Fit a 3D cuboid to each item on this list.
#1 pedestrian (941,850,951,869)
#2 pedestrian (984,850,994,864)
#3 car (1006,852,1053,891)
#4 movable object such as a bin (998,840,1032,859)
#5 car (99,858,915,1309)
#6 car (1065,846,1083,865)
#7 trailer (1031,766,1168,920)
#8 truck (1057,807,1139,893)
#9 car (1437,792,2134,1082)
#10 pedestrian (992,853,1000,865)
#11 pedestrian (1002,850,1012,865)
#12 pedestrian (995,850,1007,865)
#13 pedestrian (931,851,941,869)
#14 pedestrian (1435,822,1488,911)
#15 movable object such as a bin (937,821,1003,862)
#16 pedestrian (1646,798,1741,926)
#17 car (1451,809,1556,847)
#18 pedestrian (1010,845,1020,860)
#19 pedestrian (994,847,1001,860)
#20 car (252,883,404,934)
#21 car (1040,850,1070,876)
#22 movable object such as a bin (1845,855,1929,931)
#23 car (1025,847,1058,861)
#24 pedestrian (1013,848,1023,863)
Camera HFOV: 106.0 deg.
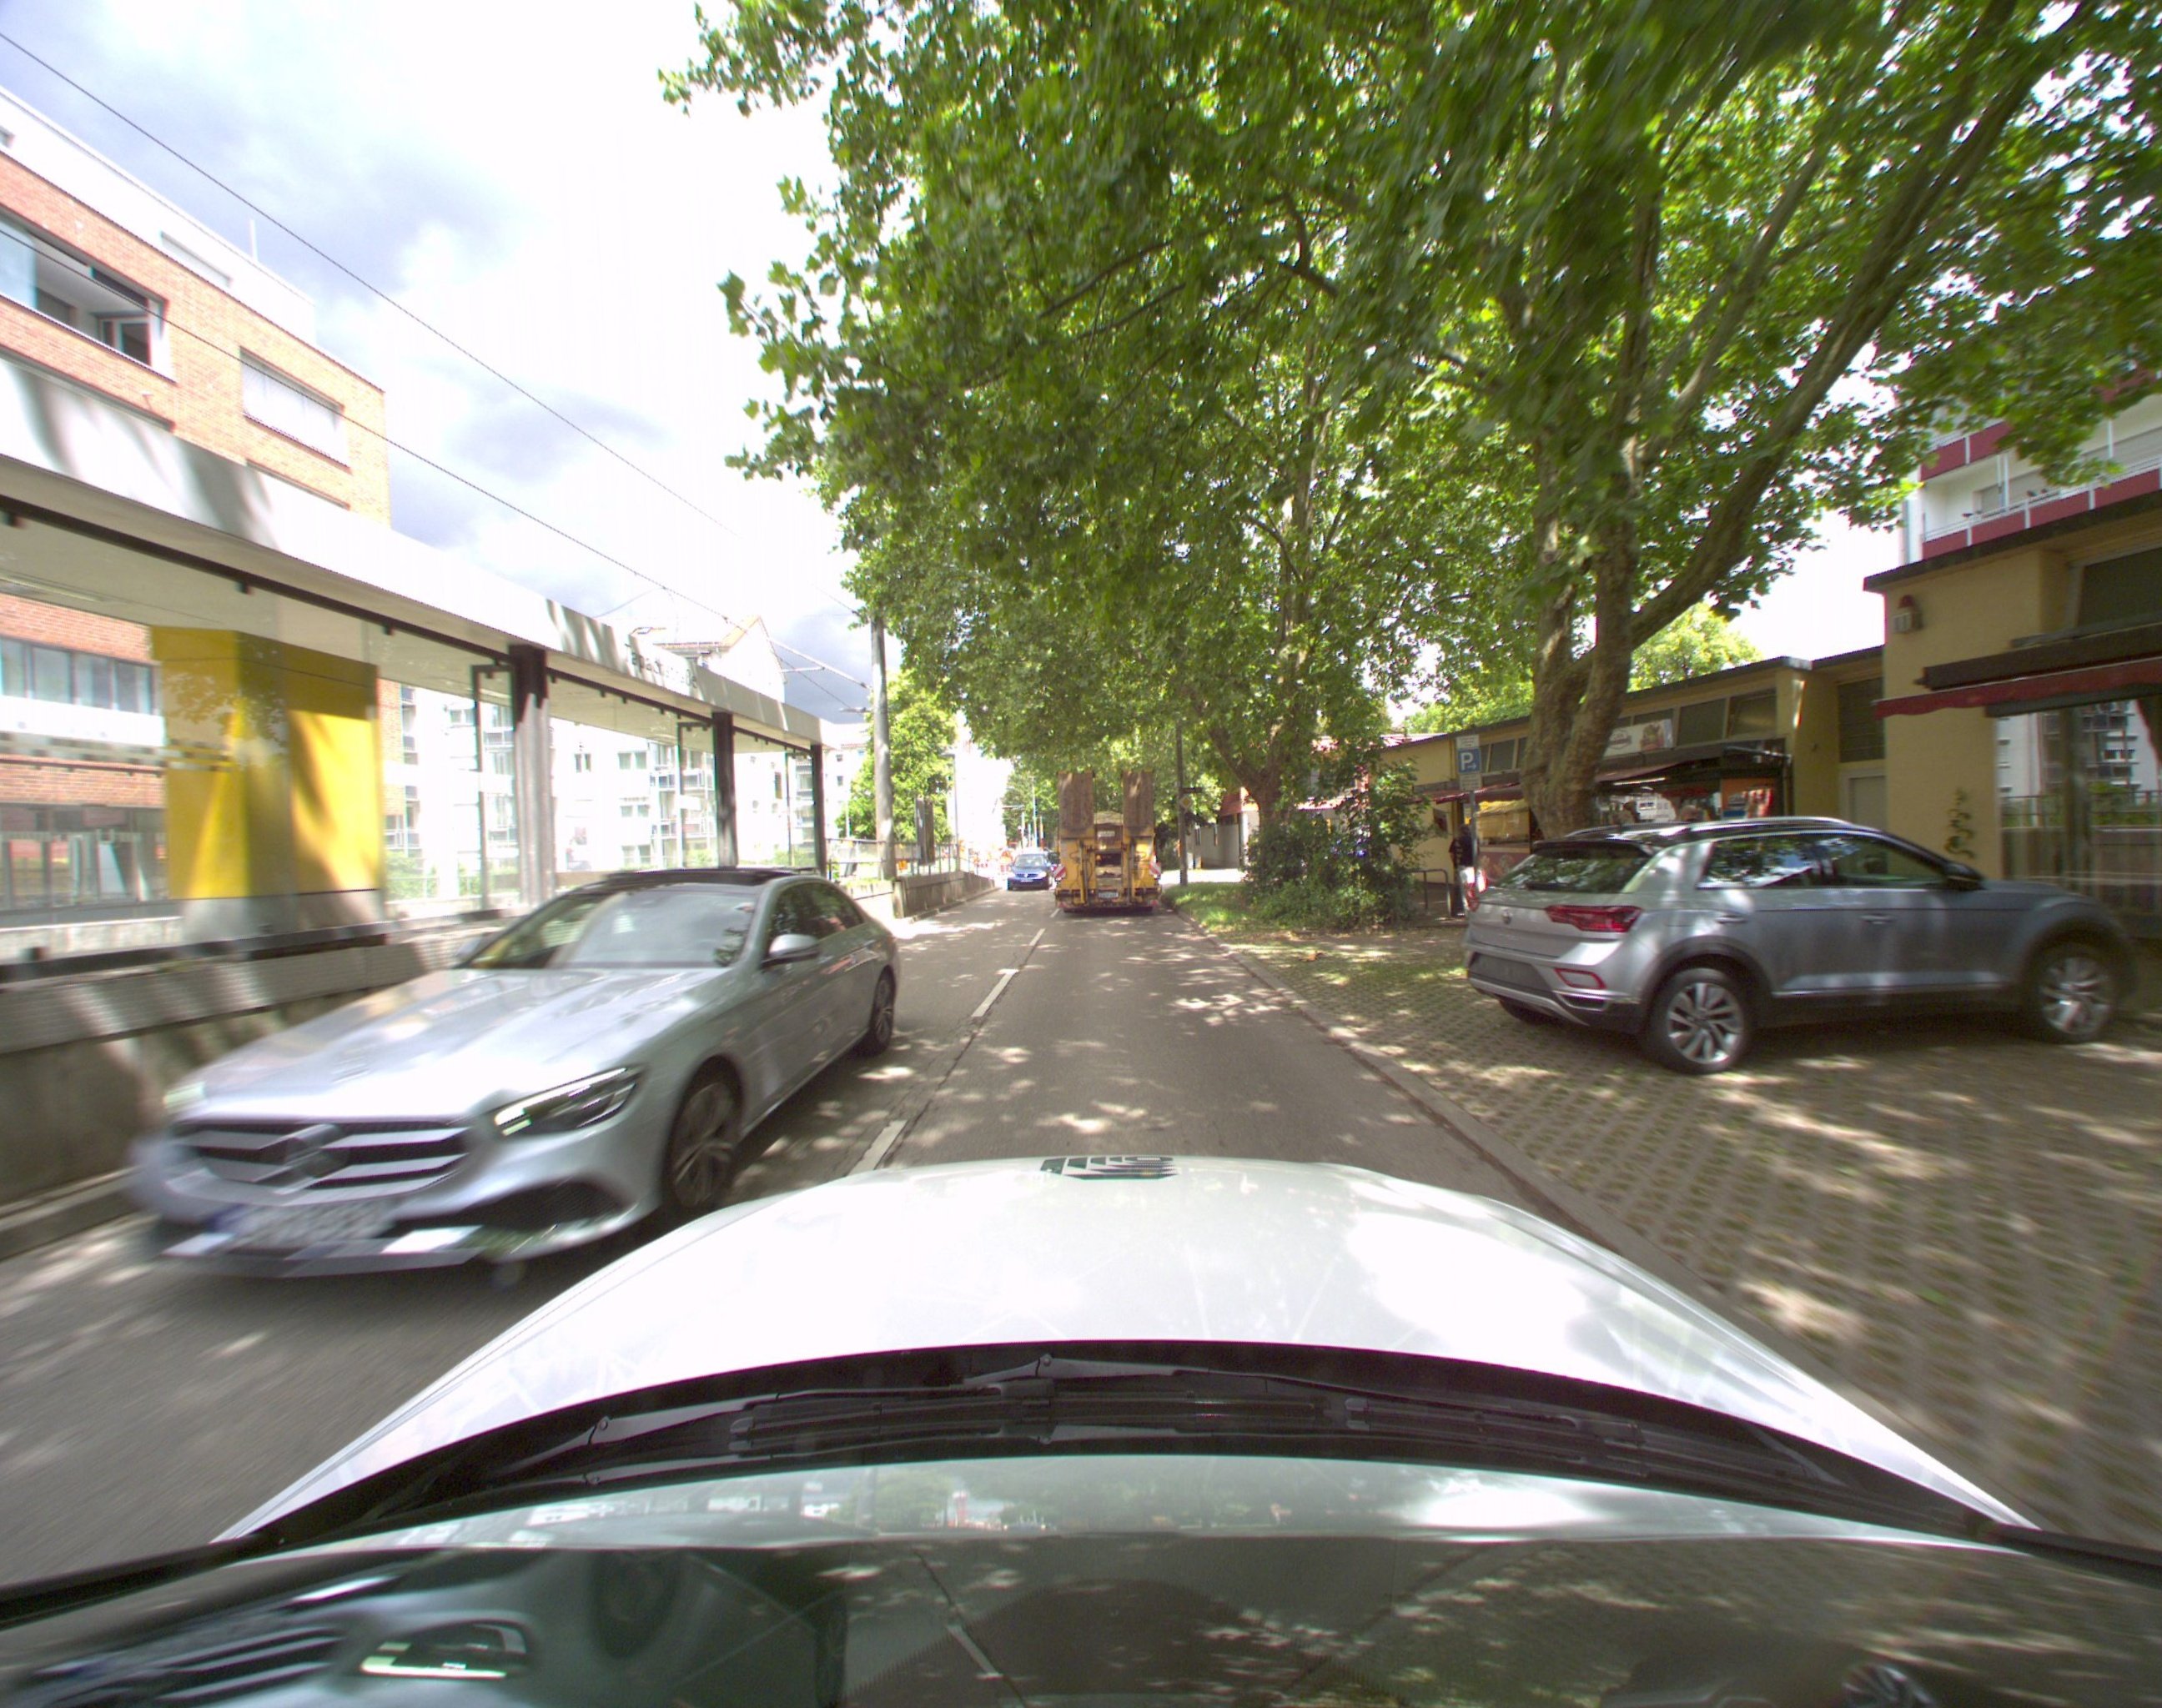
[{"bbox_3d":[-12.534,0.537,75.636,0.697,1.718,0.867,-1,0,1],"label":"pedestrian"},{"bbox_3d":[-11.272,0.372,99.672,0.891,1.645,0.891,-1,0,-30],"label":"pedestrian"},{"bbox_3d":[-2.187,0.738,35.604,1.690,1.564,3.861,-1,0,1],"label":"car"},{"bbox_3d":[-9.475,-0.632,117.277,4.325,2.629,2.234,-1,0,27],"label":"movable object such as a bin"},{"bbox_3d":[-2.407,0.787,5.042,1.756,1.481,4.577,0,0,1],"label":"car"},{"bbox_3d":[-0.712,0.170,84.183,1.748,1.840,4.644,-2,-1,0],"label":"car"},{"bbox_3d":[0.538,-0.277,24.699,3.143,3.552,11.099,-1,0,1],"label":"trailer"},{"bbox_3d":[0.763,-0.147,34.212,2.978,3.135,7.891,-1,0,2],"label":"truck"},{"bbox_3d":[4.865,0.491,5.925,3.824,1.562,1.616,-3,0,-6],"label":"car"},{"bbox_3d":[-10.988,0.640,104.942,0.886,1.645,0.833,-1,0,-12],"label":"pedestrian"},{"bbox_3d":[-8.891,0.367,97.462,0.878,1.760,0.841,-1,0,21],"label":"pedestrian"},{"bbox_3d":[-9.708,0.412,99.304,1.117,1.715,0.877,-1,0,-43],"label":"pedestrian"},{"bbox_3d":[-13.372,0.585,75.276,0.729,1.625,0.867,-2,0,1],"label":"pedestrian"},{"bbox_3d":[7.445,0.244,15.949,0.621,1.676,0.772,-2,0,1],"label":"pedestrian"},{"bbox_3d":[-15.438,-1.721,112.771,9.115,5.414,2.680,-1,0,27],"label":"movable object such as a bin"},{"bbox_3d":[8.660,0.108,11.531,0.757,1.724,0.658,-3,0,-3],"label":"pedestrian"},{"bbox_3d":[18.947,-1.162,36.573,3.983,1.443,1.523,-3,1,-7],"label":"car"},{"bbox_3d":[-8.049,-0.164,99.095,0.890,1.867,0.830,-1,0,-28],"label":"pedestrian"},{"bbox_3d":[-11.599,-0.088,113.211,0.834,1.867,0.885,-1,0,-11],"label":"pedestrian"},{"bbox_3d":[-28.544,2.015,31.062,1.887,1.552,4.004,-3,0,3],"label":"car"},{"bbox_3d":[-1.679,0.584,53.775,1.747,1.633,4.119,0,0,1],"label":"car"},{"bbox_3d":[10.207,0.484,10.324,0.436,0.914,0.586,-3,0,-8],"label":"movable object such as a bin"},{"bbox_3d":[-6.281,0.058,129.247,5.095,2.102,1.968,-1,0,-13],"label":"car"},{"bbox_3d":[-7.898,0.161,101.552,0.877,1.867,0.842,-1,0,30],"label":"pedestrian"}]
